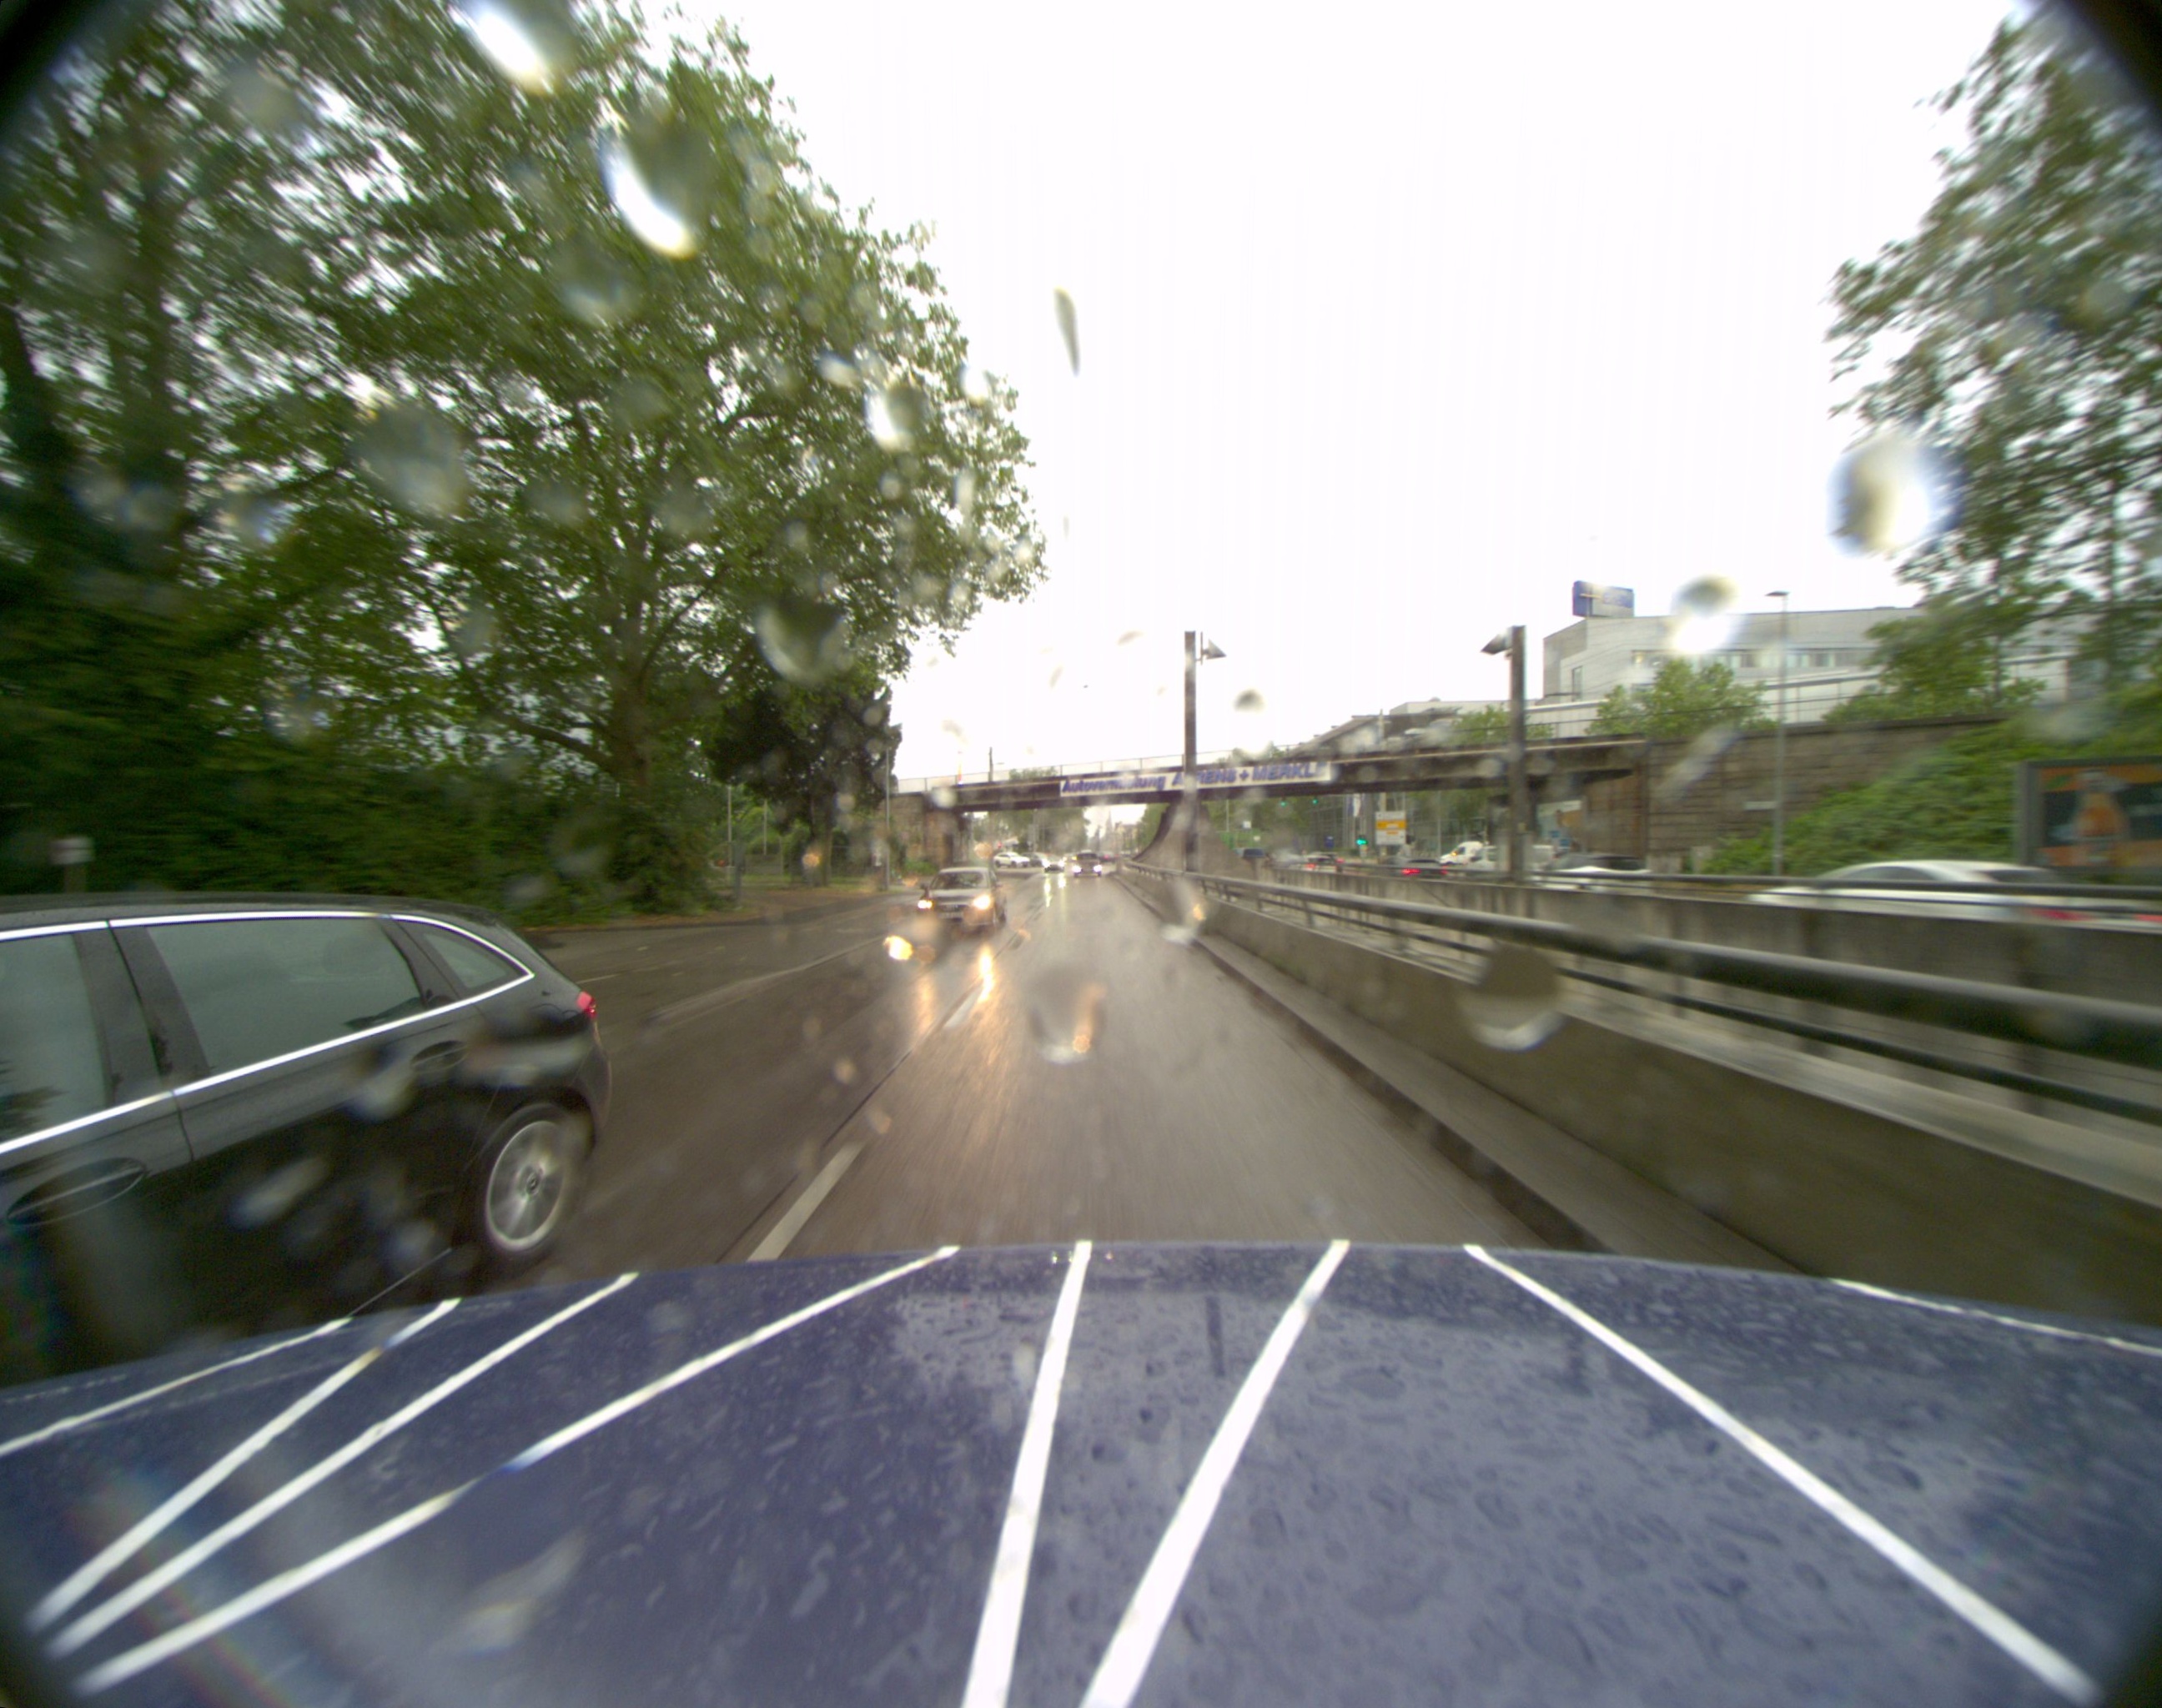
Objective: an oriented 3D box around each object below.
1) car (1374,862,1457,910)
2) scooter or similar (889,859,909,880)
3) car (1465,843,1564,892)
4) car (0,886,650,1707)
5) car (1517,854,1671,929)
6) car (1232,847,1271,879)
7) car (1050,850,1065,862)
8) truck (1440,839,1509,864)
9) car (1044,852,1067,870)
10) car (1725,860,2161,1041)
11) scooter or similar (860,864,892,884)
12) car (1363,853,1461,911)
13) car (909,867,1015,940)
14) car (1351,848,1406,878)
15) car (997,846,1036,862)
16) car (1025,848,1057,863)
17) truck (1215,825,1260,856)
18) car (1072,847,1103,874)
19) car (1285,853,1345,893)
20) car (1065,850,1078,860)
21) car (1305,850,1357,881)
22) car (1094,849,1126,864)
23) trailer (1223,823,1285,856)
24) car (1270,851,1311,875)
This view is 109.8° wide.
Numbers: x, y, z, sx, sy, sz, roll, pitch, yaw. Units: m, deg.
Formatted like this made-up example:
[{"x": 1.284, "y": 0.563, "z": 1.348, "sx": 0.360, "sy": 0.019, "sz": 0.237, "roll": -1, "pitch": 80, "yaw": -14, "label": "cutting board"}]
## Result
[{"x": 16.139, "y": 1.489, "z": 36.893, "sx": 1.998, "sy": 2.002, "sz": 4.510, "roll": -2, "pitch": 0, "yaw": 0, "label": "car"}, {"x": -10.681, "y": 0.896, "z": 44.557, "sx": 0.453, "sy": 1.152, "sz": 1.828, "roll": -2, "pitch": 0, "yaw": 8, "label": "scooter or similar"}, {"x": 19.294, "y": 0.547, "z": 34.077, "sx": 1.998, "sy": 2.002, "sz": 4.196, "roll": -2, "pitch": 0, "yaw": 0, "label": "car"}, {"x": -2.993, "y": 1.030, "z": 1.477, "sx": 1.821, "sy": 1.521, "sz": 4.419, "roll": -2, "pitch": 2, "yaw": -2, "label": "car"}, {"x": 15.527, "y": 1.049, "z": 23.293, "sx": 1.998, "sy": 2.002, "sz": 4.000, "roll": -2, "pitch": 0, "yaw": 0, "label": "car"}, {"x": 13.072, "y": 0.656, "z": 58.621, "sx": 1.998, "sy": 2.230, "sz": 4.367, "roll": -2, "pitch": 0, "yaw": 0, "label": "car"}, {"x": -3.039, "y": 0.281, "z": 97.418, "sx": 1.821, "sy": 1.520, "sz": 4.158, "roll": -1, "pitch": -1, "yaw": -1, "label": "car"}, {"x": 35.754, "y": -0.216, "z": 69.111, "sx": 5.248, "sy": 2.002, "sz": 2.219, "roll": -2, "pitch": 1, "yaw": 35, "label": "truck"}, {"x": -2.259, "y": 0.655, "z": 67.347, "sx": 1.821, "sy": 1.520, "sz": 4.159, "roll": -1, "pitch": -1, "yaw": 1, "label": "car"}, {"x": 12.530, "y": 1.168, "z": 11.287, "sx": 1.998, "sy": 2.002, "sz": 4.616, "roll": -2, "pitch": 0, "yaw": 0, "label": "car"}, {"x": -11.540, "y": 1.130, "z": 42.783, "sx": 0.452, "sy": 1.004, "sz": 1.742, "roll": -2, "pitch": 1, "yaw": 38, "label": "scooter or similar"}, {"x": 12.659, "y": 0.993, "z": 29.337, "sx": 1.998, "sy": 2.002, "sz": 4.000, "roll": -2, "pitch": 0, "yaw": 0, "label": "car"}, {"x": -2.650, "y": 1.070, "z": 17.711, "sx": 1.641, "sy": 1.377, "sz": 3.782, "roll": -2, "pitch": 1, "yaw": 3, "label": "car"}, {"x": 19.692, "y": 0.566, "z": 50.521, "sx": 1.998, "sy": 1.780, "sz": 4.196, "roll": -2, "pitch": 0, "yaw": 0, "label": "car"}, {"x": -7.311, "y": 0.032, "z": 85.710, "sx": 4.412, "sy": 1.689, "sz": 1.875, "roll": -1, "pitch": -1, "yaw": 44, "label": "car"}, {"x": -4.652, "y": 0.206, "z": 87.669, "sx": 1.874, "sy": 1.688, "sz": 3.987, "roll": -1, "pitch": -1, "yaw": -35, "label": "car"}, {"x": 17.922, "y": -1.463, "z": 87.553, "sx": 3.384, "sy": 3.290, "sz": 6.521, "roll": -2, "pitch": 0, "yaw": -4, "label": "truck"}, {"x": 0.515, "y": 0.495, "z": 53.934, "sx": 1.974, "sy": 1.794, "sz": 4.160, "roll": -1, "pitch": -1, "yaw": 3, "label": "car"}, {"x": 12.763, "y": 0.980, "z": 41.661, "sx": 1.998, "sy": 2.002, "sz": 4.000, "roll": -2, "pitch": 0, "yaw": 0, "label": "car"}, {"x": -1.502, "y": 0.207, "z": 121.297, "sx": 1.821, "sy": 1.520, "sz": 4.157, "roll": -1, "pitch": -1, "yaw": -3, "label": "car"}, {"x": 16.433, "y": 0.714, "z": 50.149, "sx": 1.998, "sy": 1.918, "sz": 4.367, "roll": -2, "pitch": 0, "yaw": 0, "label": "car"}, {"x": 3.319, "y": 0.282, "z": 87.320, "sx": 2.126, "sy": 1.688, "sz": 4.151, "roll": -1, "pitch": -1, "yaw": -23, "label": "car"}, {"x": 18.350, "y": -1.457, "z": 81.420, "sx": 3.331, "sy": 3.241, "sz": 11.118, "roll": -2, "pitch": 0, "yaw": -4, "label": "trailer"}, {"x": 16.264, "y": 0.665, "z": 59.160, "sx": 1.998, "sy": 1.780, "sz": 4.196, "roll": -2, "pitch": 0, "yaw": 0, "label": "car"}]
